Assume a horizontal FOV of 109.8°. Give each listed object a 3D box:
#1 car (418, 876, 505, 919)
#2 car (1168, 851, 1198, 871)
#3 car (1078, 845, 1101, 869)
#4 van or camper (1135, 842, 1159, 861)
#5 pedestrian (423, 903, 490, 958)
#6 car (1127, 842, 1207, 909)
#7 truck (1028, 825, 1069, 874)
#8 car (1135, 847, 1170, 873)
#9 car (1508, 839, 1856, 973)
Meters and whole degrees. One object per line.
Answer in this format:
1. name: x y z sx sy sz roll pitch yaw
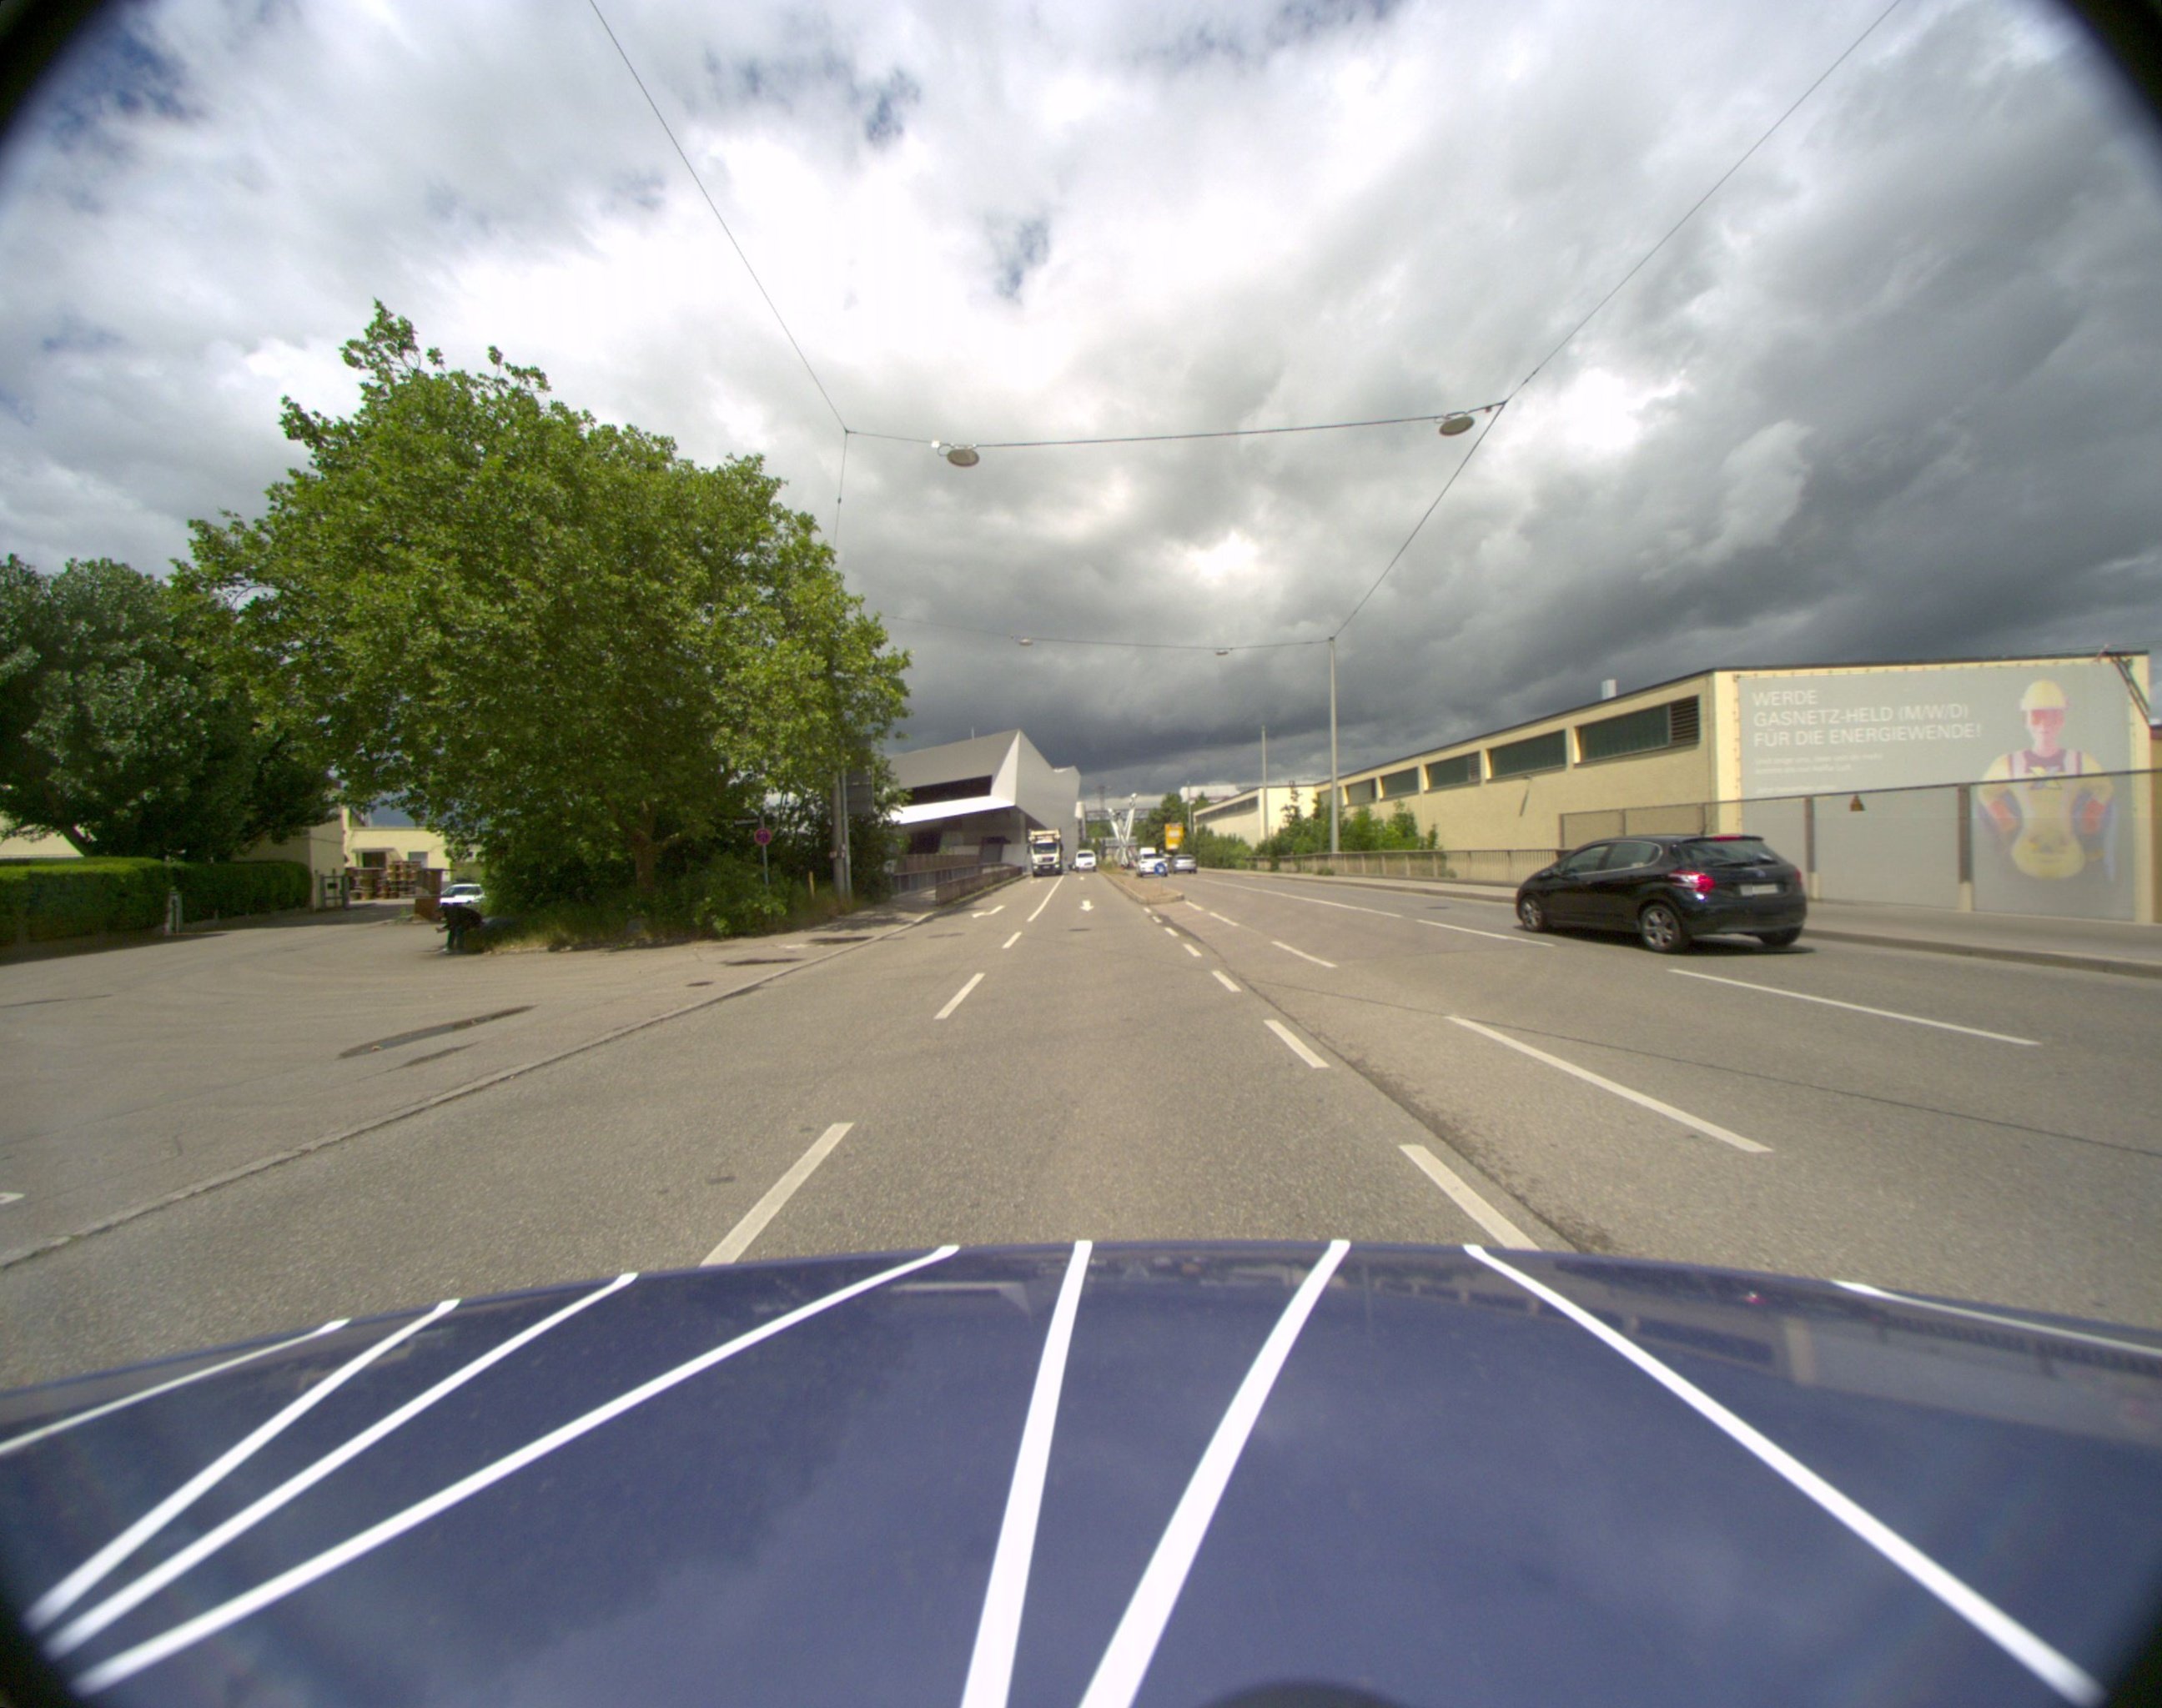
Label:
1. car: -28.269 1.937 34.834 2.003 1.709 4.104 2 0 -23
2. car: 7.633 0.515 57.261 1.612 1.404 3.799 -2 1 -1
3. car: 0.821 0.272 71.220 1.935 2.078 4.208 -2 1 3
4. van or camper: 7.968 -0.352 92.004 2.164 2.109 5.469 -2 1 -1
5. pedestrian: -15.500 1.873 18.872 0.884 1.241 0.967 -2 1 29
6. car: 2.474 0.579 22.855 1.870 1.782 4.207 -2 1 0
7. truck: -2.713 -0.289 66.393 2.836 3.888 10.368 -1 -1 1
8. car: 4.578 0.376 48.831 1.806 1.543 3.770 -2 1 -1
9. car: 7.683 0.552 10.250 1.612 1.404 3.799 -2 1 -1
